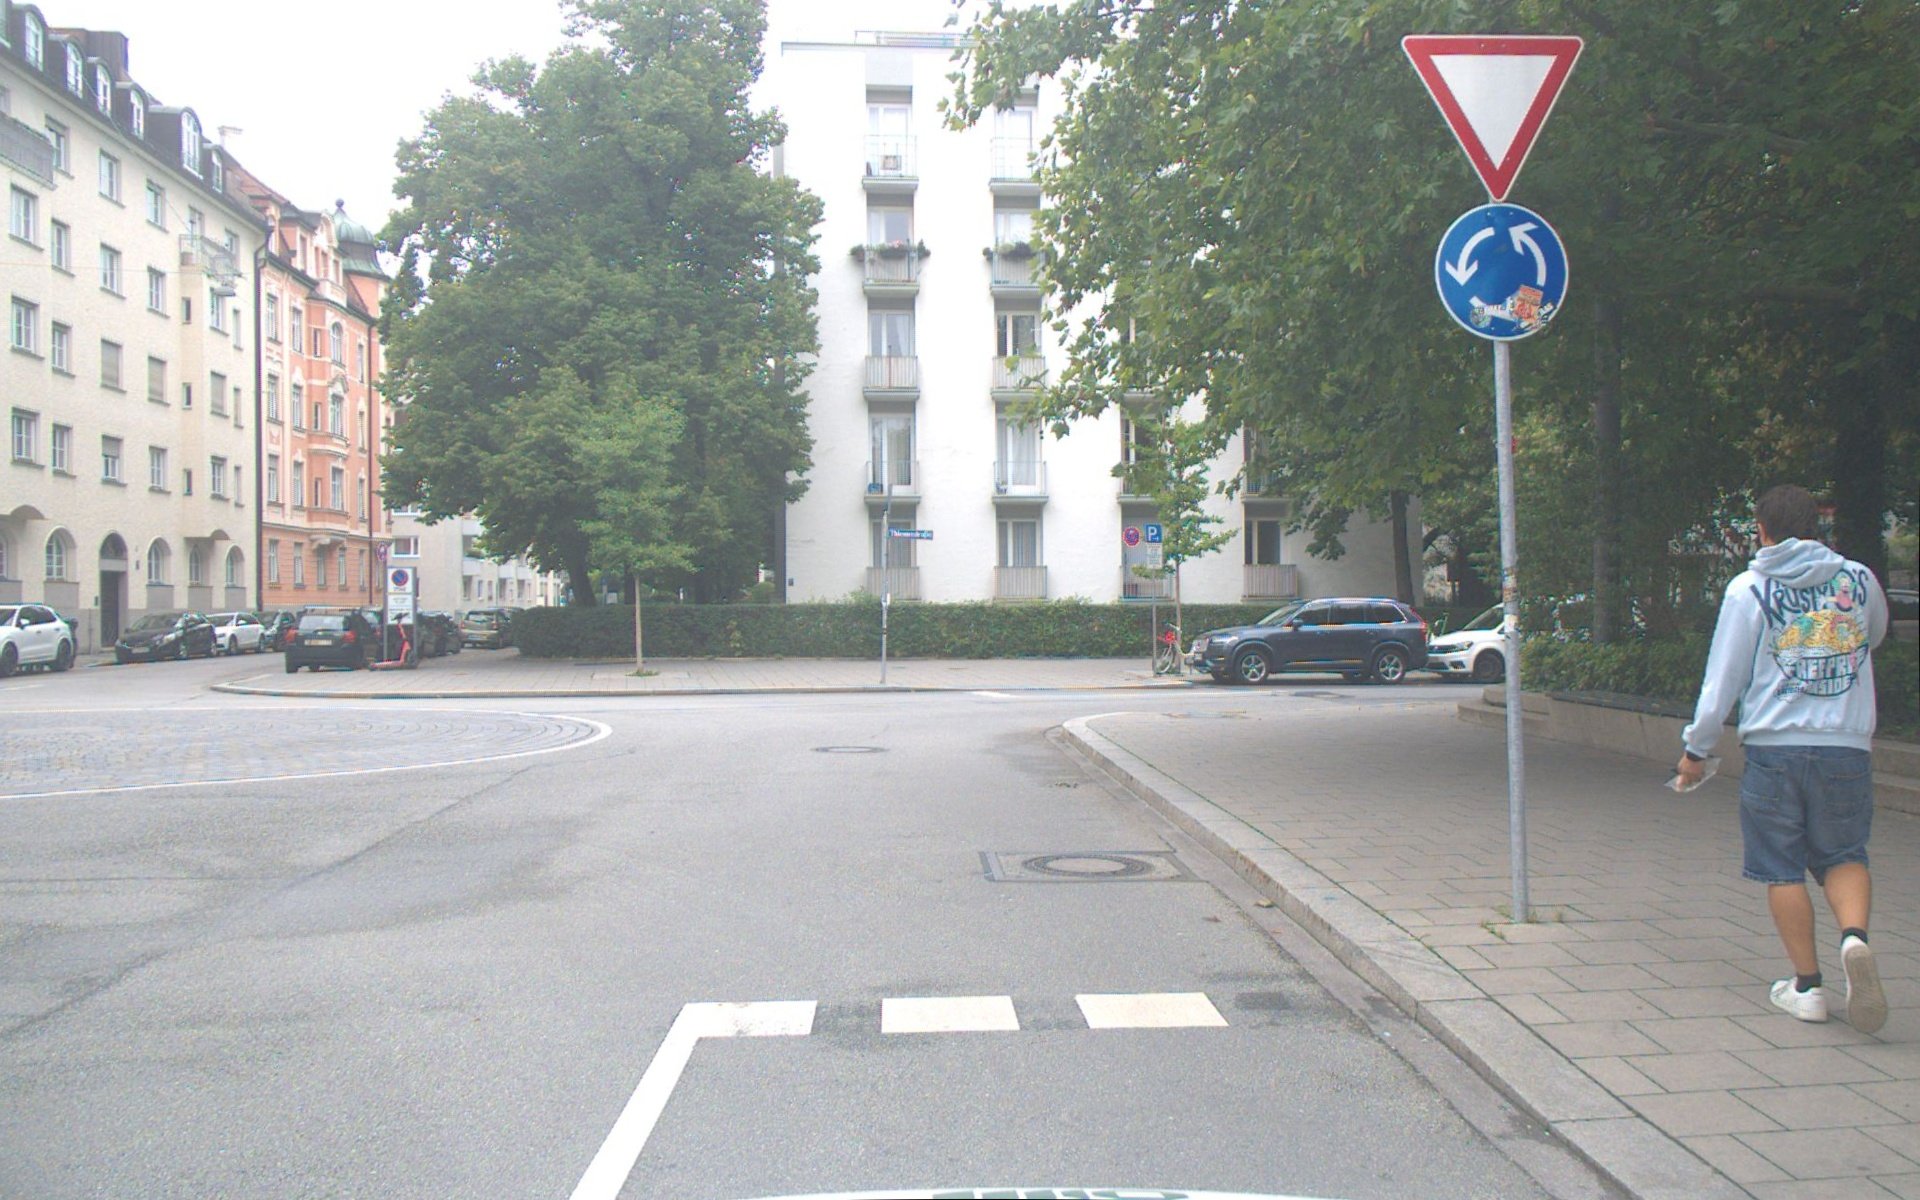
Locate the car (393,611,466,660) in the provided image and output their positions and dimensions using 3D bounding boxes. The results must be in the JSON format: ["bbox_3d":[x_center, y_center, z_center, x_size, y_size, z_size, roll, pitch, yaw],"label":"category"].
[{"bbox_3d":[-17.785,1.169,55.575,1.761,1.531,4.105,-2,0,-10],"label":"car"}]

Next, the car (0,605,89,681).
[{"bbox_3d":[-22.921,0.985,39.629,1.937,1.730,4.834,0,0,-6],"label":"car"}]

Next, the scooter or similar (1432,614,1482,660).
[{"bbox_3d":[13.081,0.970,43.555,1.188,1.214,0.399,0,-1,-7],"label":"scooter or similar"}]

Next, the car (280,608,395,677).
[{"bbox_3d":[-15.047,0.980,40.201,1.786,1.531,4.411,-2,0,-10],"label":"car"}]

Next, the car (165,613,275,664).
[{"bbox_3d":[-24.518,1.248,54.977,1.936,1.608,4.404,0,0,-4],"label":"car"}]

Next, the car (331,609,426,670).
[{"bbox_3d":[-15.894,1.038,45.385,1.761,1.531,4.224,-2,0,-10],"label":"car"}]

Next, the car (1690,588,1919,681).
[{"bbox_3d":[19.016,0.743,36.678,5.104,1.967,1.886,0,-2,-15],"label":"car"}]

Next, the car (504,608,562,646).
[{"bbox_3d":[-19.807,1.220,76.848,1.798,1.663,3.817,-2,0,-3],"label":"car"}]

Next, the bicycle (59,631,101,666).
[{"bbox_3d":[-28.556,1.573,53.677,0.552,1.067,1.828,0,0,-6],"label":"bicycle"}]

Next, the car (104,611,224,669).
[{"bbox_3d":[-24.040,1.169,50.121,1.939,1.644,4.703,0,0,-8],"label":"car"}]

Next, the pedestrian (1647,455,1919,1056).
[{"bbox_3d":[2.846,0.468,5.510,0.855,1.802,1.053,-1,-1,14],"label":"pedestrian"}]

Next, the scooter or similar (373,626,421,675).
[{"bbox_3d":[-12.818,1.142,37.667,0.989,1.108,0.386,0,-1,-33],"label":"scooter or similar"}]

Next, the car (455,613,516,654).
[{"bbox_3d":[-19.067,1.309,66.602,1.801,1.531,4.107,-2,0,-8],"label":"car"}]

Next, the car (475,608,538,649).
[{"bbox_3d":[-19.484,1.202,71.192,1.799,1.663,4.111,-2,0,-4],"label":"car"}]

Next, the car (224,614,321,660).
[{"bbox_3d":[-24.924,1.315,60.123,1.936,1.608,4.404,0,0,-4],"label":"car"}]

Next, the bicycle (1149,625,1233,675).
[{"bbox_3d":[5.104,1.097,36.540,1.795,1.067,0.489,0,0,-16],"label":"bicycle"}]

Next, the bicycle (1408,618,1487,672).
[{"bbox_3d":[10.988,1.006,37.349,0.531,1.169,1.810,0,0,-32],"label":"bicycle"}]

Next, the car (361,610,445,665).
[{"bbox_3d":[-16.757,1.095,49.885,1.761,1.531,4.105,-2,0,-10],"label":"car"}]

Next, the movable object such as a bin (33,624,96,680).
[{"bbox_3d":[-23.865,1.364,44.085,1.069,1.450,1.172,0,0,-4],"label":"movable object such as a bin"}]

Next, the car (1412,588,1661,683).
[{"bbox_3d":[12.293,0.755,35.376,4.746,1.952,1.830,0,-1,-11],"label":"car"}]

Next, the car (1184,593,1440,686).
[{"bbox_3d":[7.265,0.811,34.328,4.808,1.823,1.995,0,-1,-10],"label":"car"}]
